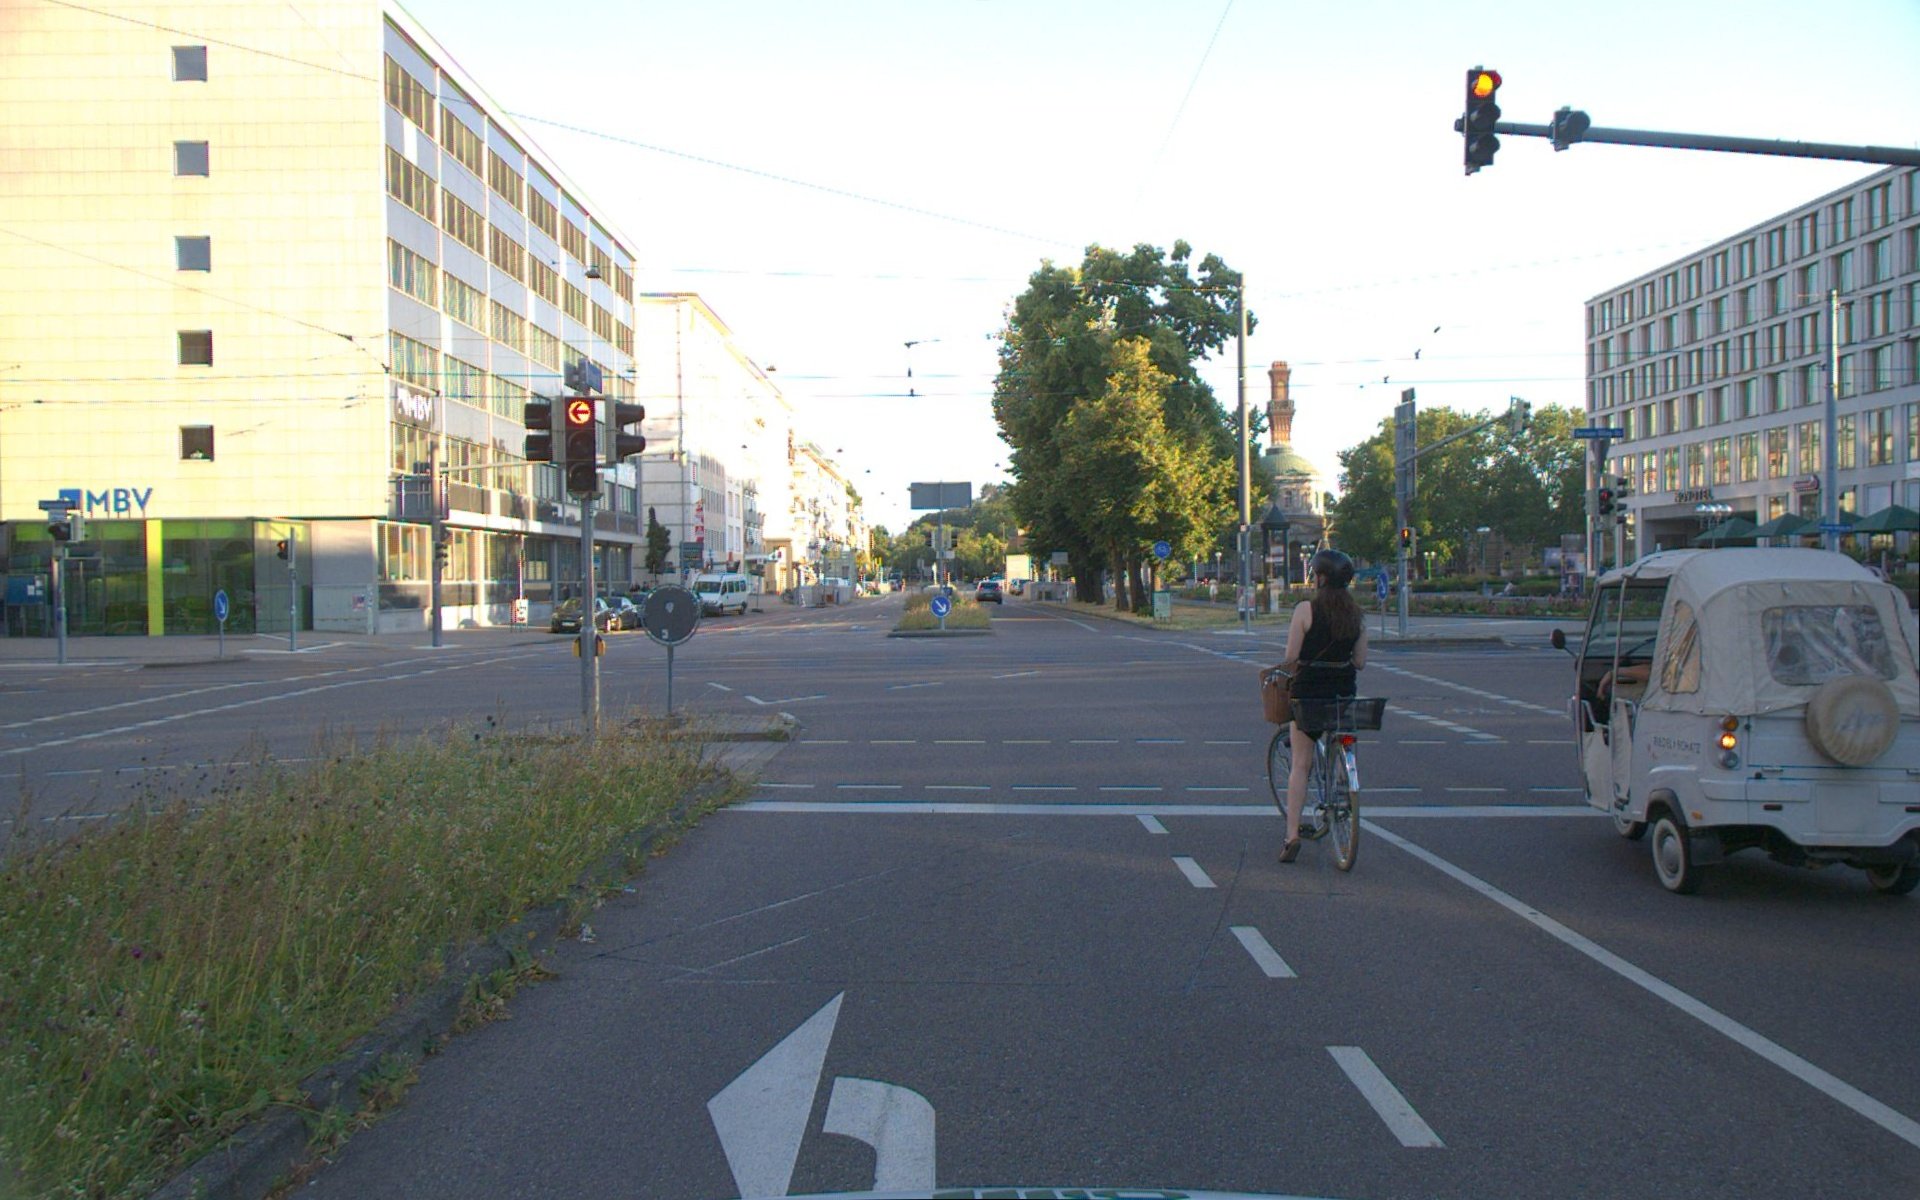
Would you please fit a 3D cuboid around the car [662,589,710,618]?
[{"bbox_3d":[-15.145,0.215,91.688,1.758,1.501,4.001,-1,-2,3],"label":"car"}]

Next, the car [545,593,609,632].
[{"bbox_3d":[-15.815,0.532,68.496,1.759,1.501,3.999,-1,-2,-1],"label":"car"}]

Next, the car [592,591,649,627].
[{"bbox_3d":[-15.304,0.435,74.719,1.759,1.501,3.999,-1,-2,-1],"label":"car"}]

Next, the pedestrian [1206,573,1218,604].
[{"bbox_3d":[13.520,-0.616,88.676,0.498,1.697,0.531,-1,0,-1],"label":"pedestrian"}]

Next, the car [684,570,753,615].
[{"bbox_3d":[-14.299,-0.378,98.287,2.130,2.427,5.994,-2,-2,11],"label":"car"}]

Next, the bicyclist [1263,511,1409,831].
[{"bbox_3d":[2.108,0.381,9.344,0.615,1.722,0.748,-1,0,-1],"label":"bicyclist"}]

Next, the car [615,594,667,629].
[{"bbox_3d":[-15.250,0.581,79.198,1.759,1.501,3.999,-1,-2,-1],"label":"car"}]

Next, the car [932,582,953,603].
[{"bbox_3d":[-1.645,-0.712,155.737,1.953,1.847,3.999,-1,1,-1],"label":"car"}]

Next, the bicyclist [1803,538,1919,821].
[{"bbox_3d":[5.959,0.480,10.552,0.701,1.722,0.745,-1,0,-16],"label":"bicyclist"}]

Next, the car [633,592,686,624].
[{"bbox_3d":[-15.443,0.423,85.285,1.758,1.501,4.001,-1,-2,3],"label":"car"}]

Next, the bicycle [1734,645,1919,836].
[{"bbox_3d":[5.989,0.874,10.603,0.717,1.087,2.013,1,1,-16],"label":"bicycle"}]

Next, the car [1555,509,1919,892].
[{"bbox_3d":[4.407,0.438,9.099,1.429,1.811,2.565,0,2,2],"label":"car"}]

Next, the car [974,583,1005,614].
[{"bbox_3d":[2.056,-0.133,115.617,1.953,2.049,3.999,-1,1,-1],"label":"car"}]

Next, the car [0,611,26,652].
[{"bbox_3d":[-26.741,0.892,45.347,0.836,1.092,2.521,-1,1,-1],"label":"car"}]

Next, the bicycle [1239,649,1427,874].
[{"bbox_3d":[2.123,0.875,9.662,0.624,1.087,2.069,0,1,0],"label":"bicycle"}]
